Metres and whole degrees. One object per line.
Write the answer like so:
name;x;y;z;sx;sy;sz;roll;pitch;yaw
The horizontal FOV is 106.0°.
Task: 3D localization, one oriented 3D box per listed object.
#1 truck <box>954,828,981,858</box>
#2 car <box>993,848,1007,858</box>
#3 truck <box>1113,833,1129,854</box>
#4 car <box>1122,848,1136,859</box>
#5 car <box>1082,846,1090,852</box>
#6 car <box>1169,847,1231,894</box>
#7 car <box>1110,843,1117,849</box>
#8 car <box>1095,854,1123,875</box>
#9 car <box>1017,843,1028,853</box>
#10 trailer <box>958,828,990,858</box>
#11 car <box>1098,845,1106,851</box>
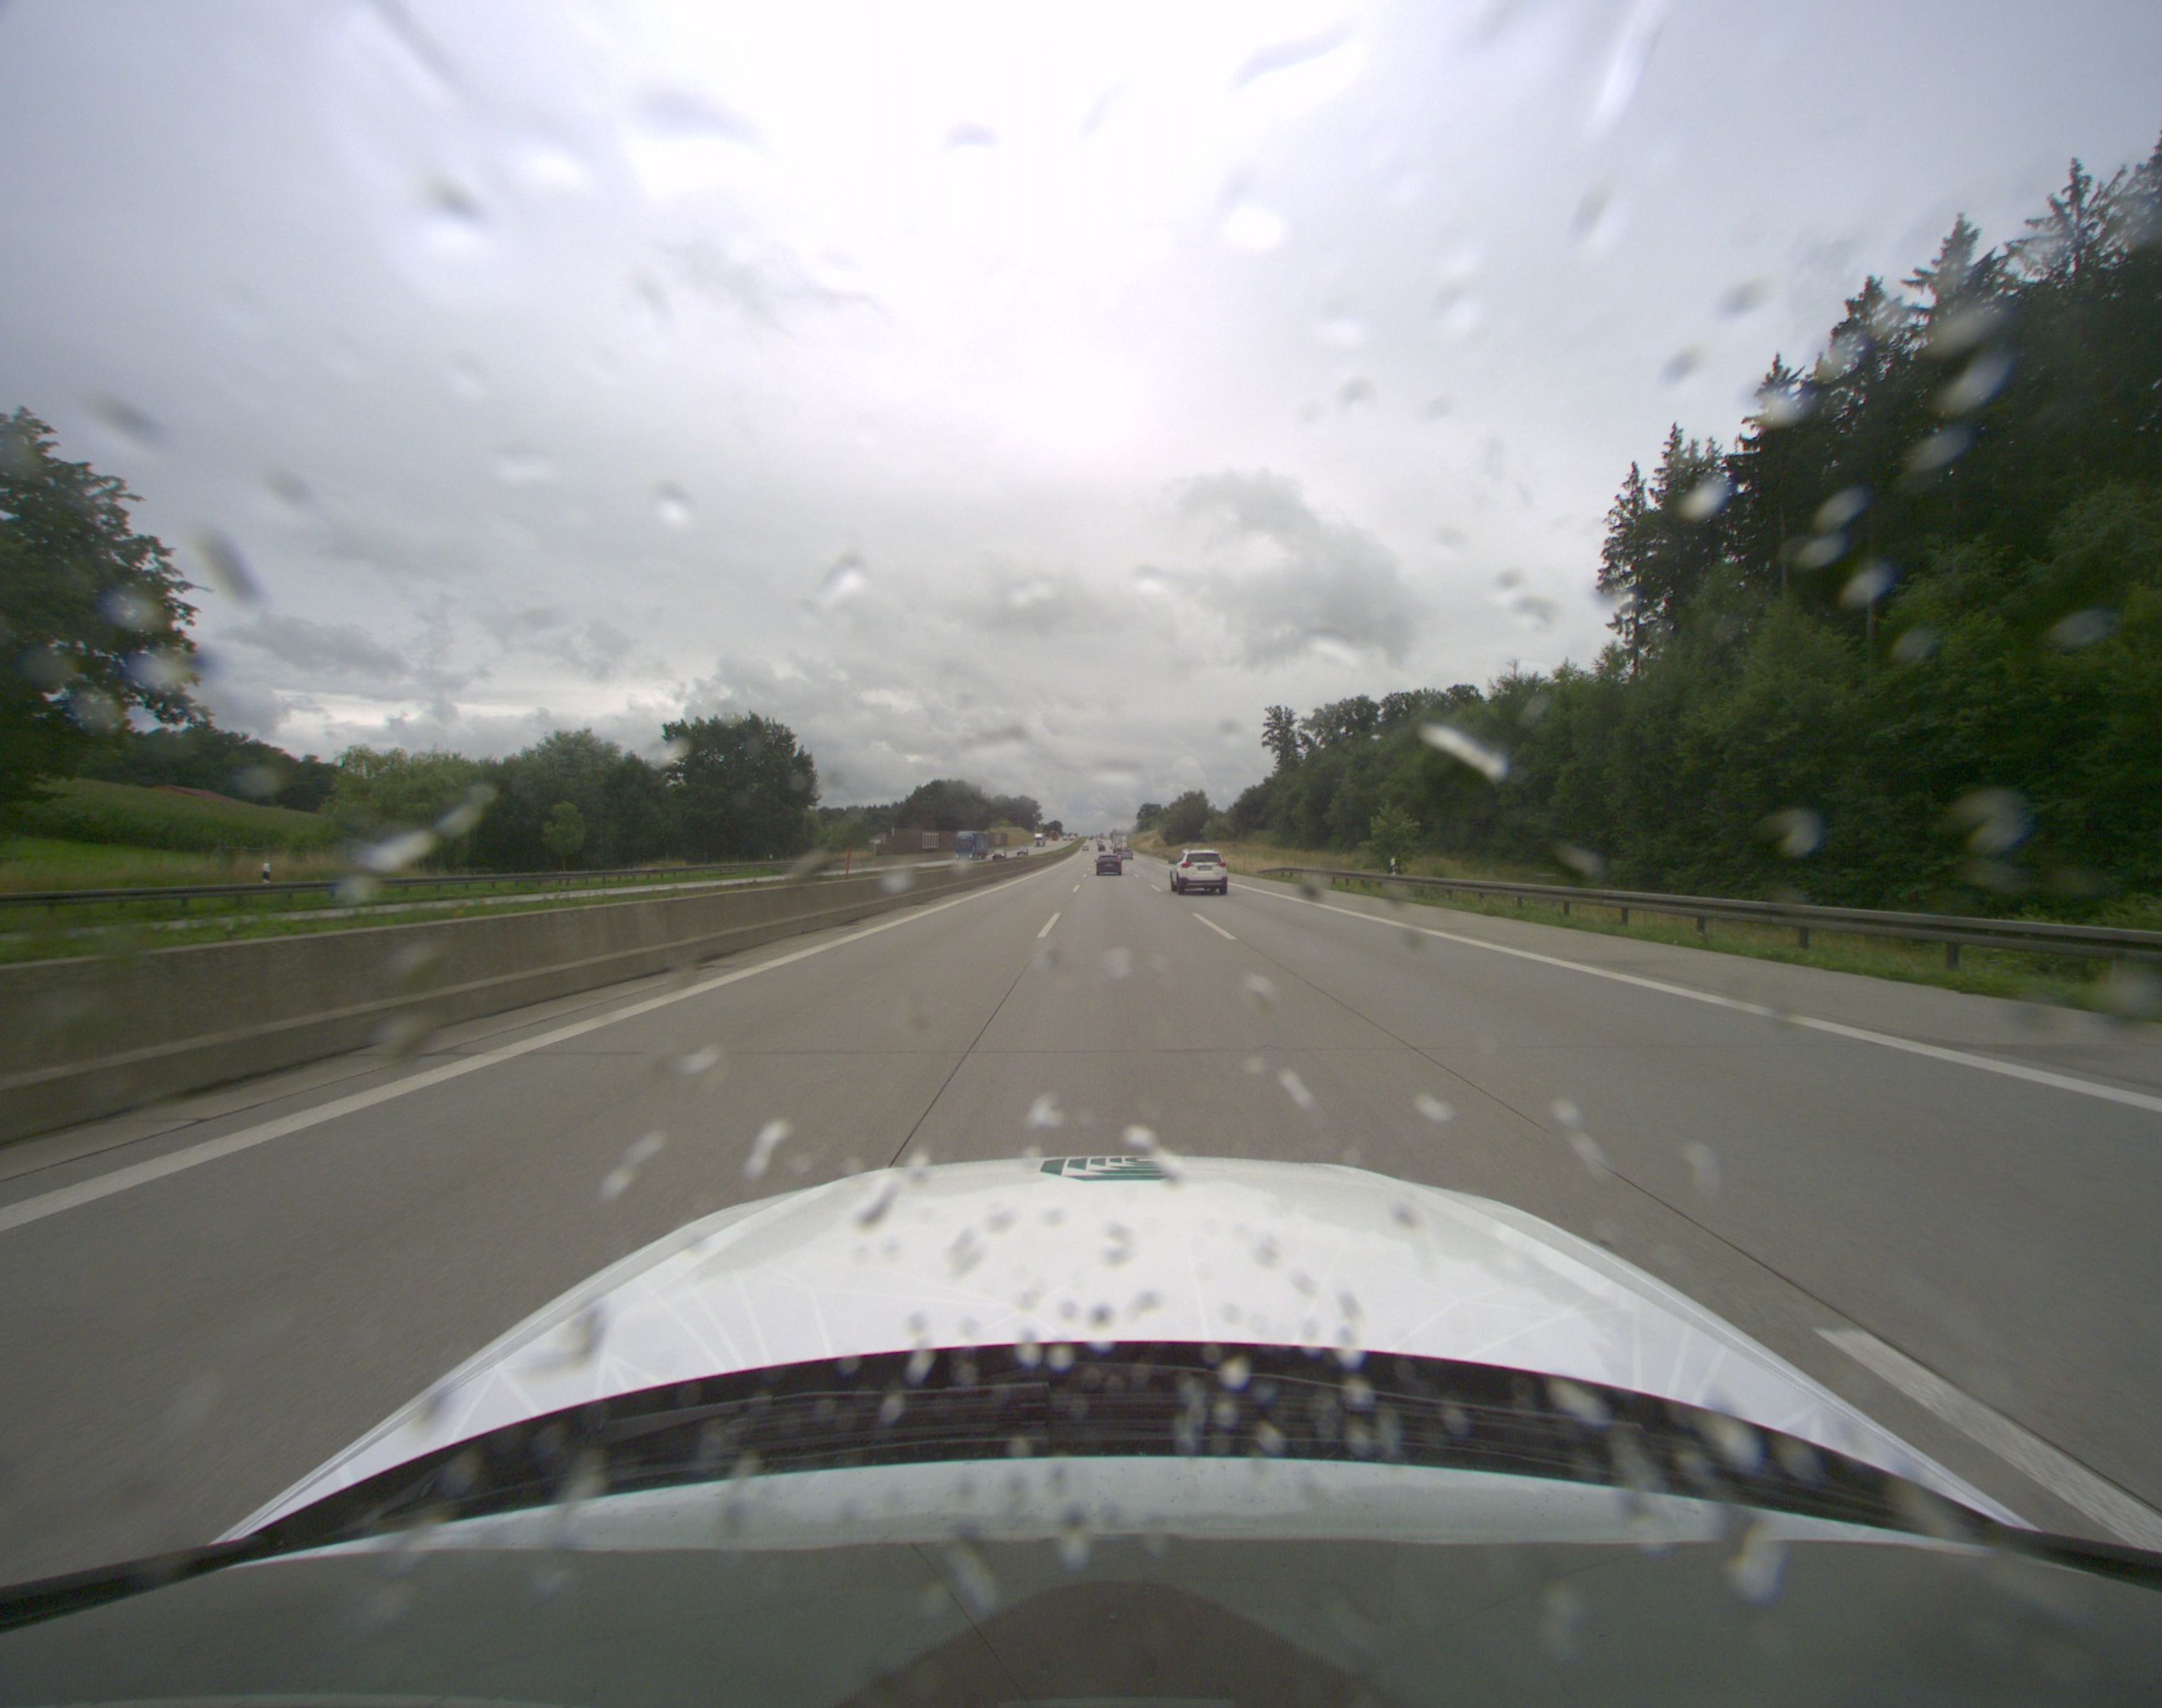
truck;-16.123;-1.485;115.989;2.681;4.188;6.213;0;0;2
car;-11.942;-0.105;120.161;1.631;1.500;4.517;0;-1;0
truck;8.264;-2.146;168.900;3.007;4.180;8.356;0;1;1
car;7.043;-0.038;119.999;1.986;1.530;4.002;0;0;2
car;1.281;-1.390;217.236;1.940;1.356;4.261;-1;-2;2
car;4.435;0.589;30.896;1.820;1.655;3.985;0;0;0
car;9.874;-2.441;245.092;1.985;1.640;4.004;0;1;3
car;1.893;0.739;55.844;1.747;1.398;4.483;0;-1;0
car;-11.211;-1.143;156.716;1.810;1.767;4.732;0;0;0
trailer;-15.973;-1.537;122.191;2.700;4.208;13.796;0;0;1
car;5.356;-1.536;207.872;1.927;1.375;4.597;0;0;2
